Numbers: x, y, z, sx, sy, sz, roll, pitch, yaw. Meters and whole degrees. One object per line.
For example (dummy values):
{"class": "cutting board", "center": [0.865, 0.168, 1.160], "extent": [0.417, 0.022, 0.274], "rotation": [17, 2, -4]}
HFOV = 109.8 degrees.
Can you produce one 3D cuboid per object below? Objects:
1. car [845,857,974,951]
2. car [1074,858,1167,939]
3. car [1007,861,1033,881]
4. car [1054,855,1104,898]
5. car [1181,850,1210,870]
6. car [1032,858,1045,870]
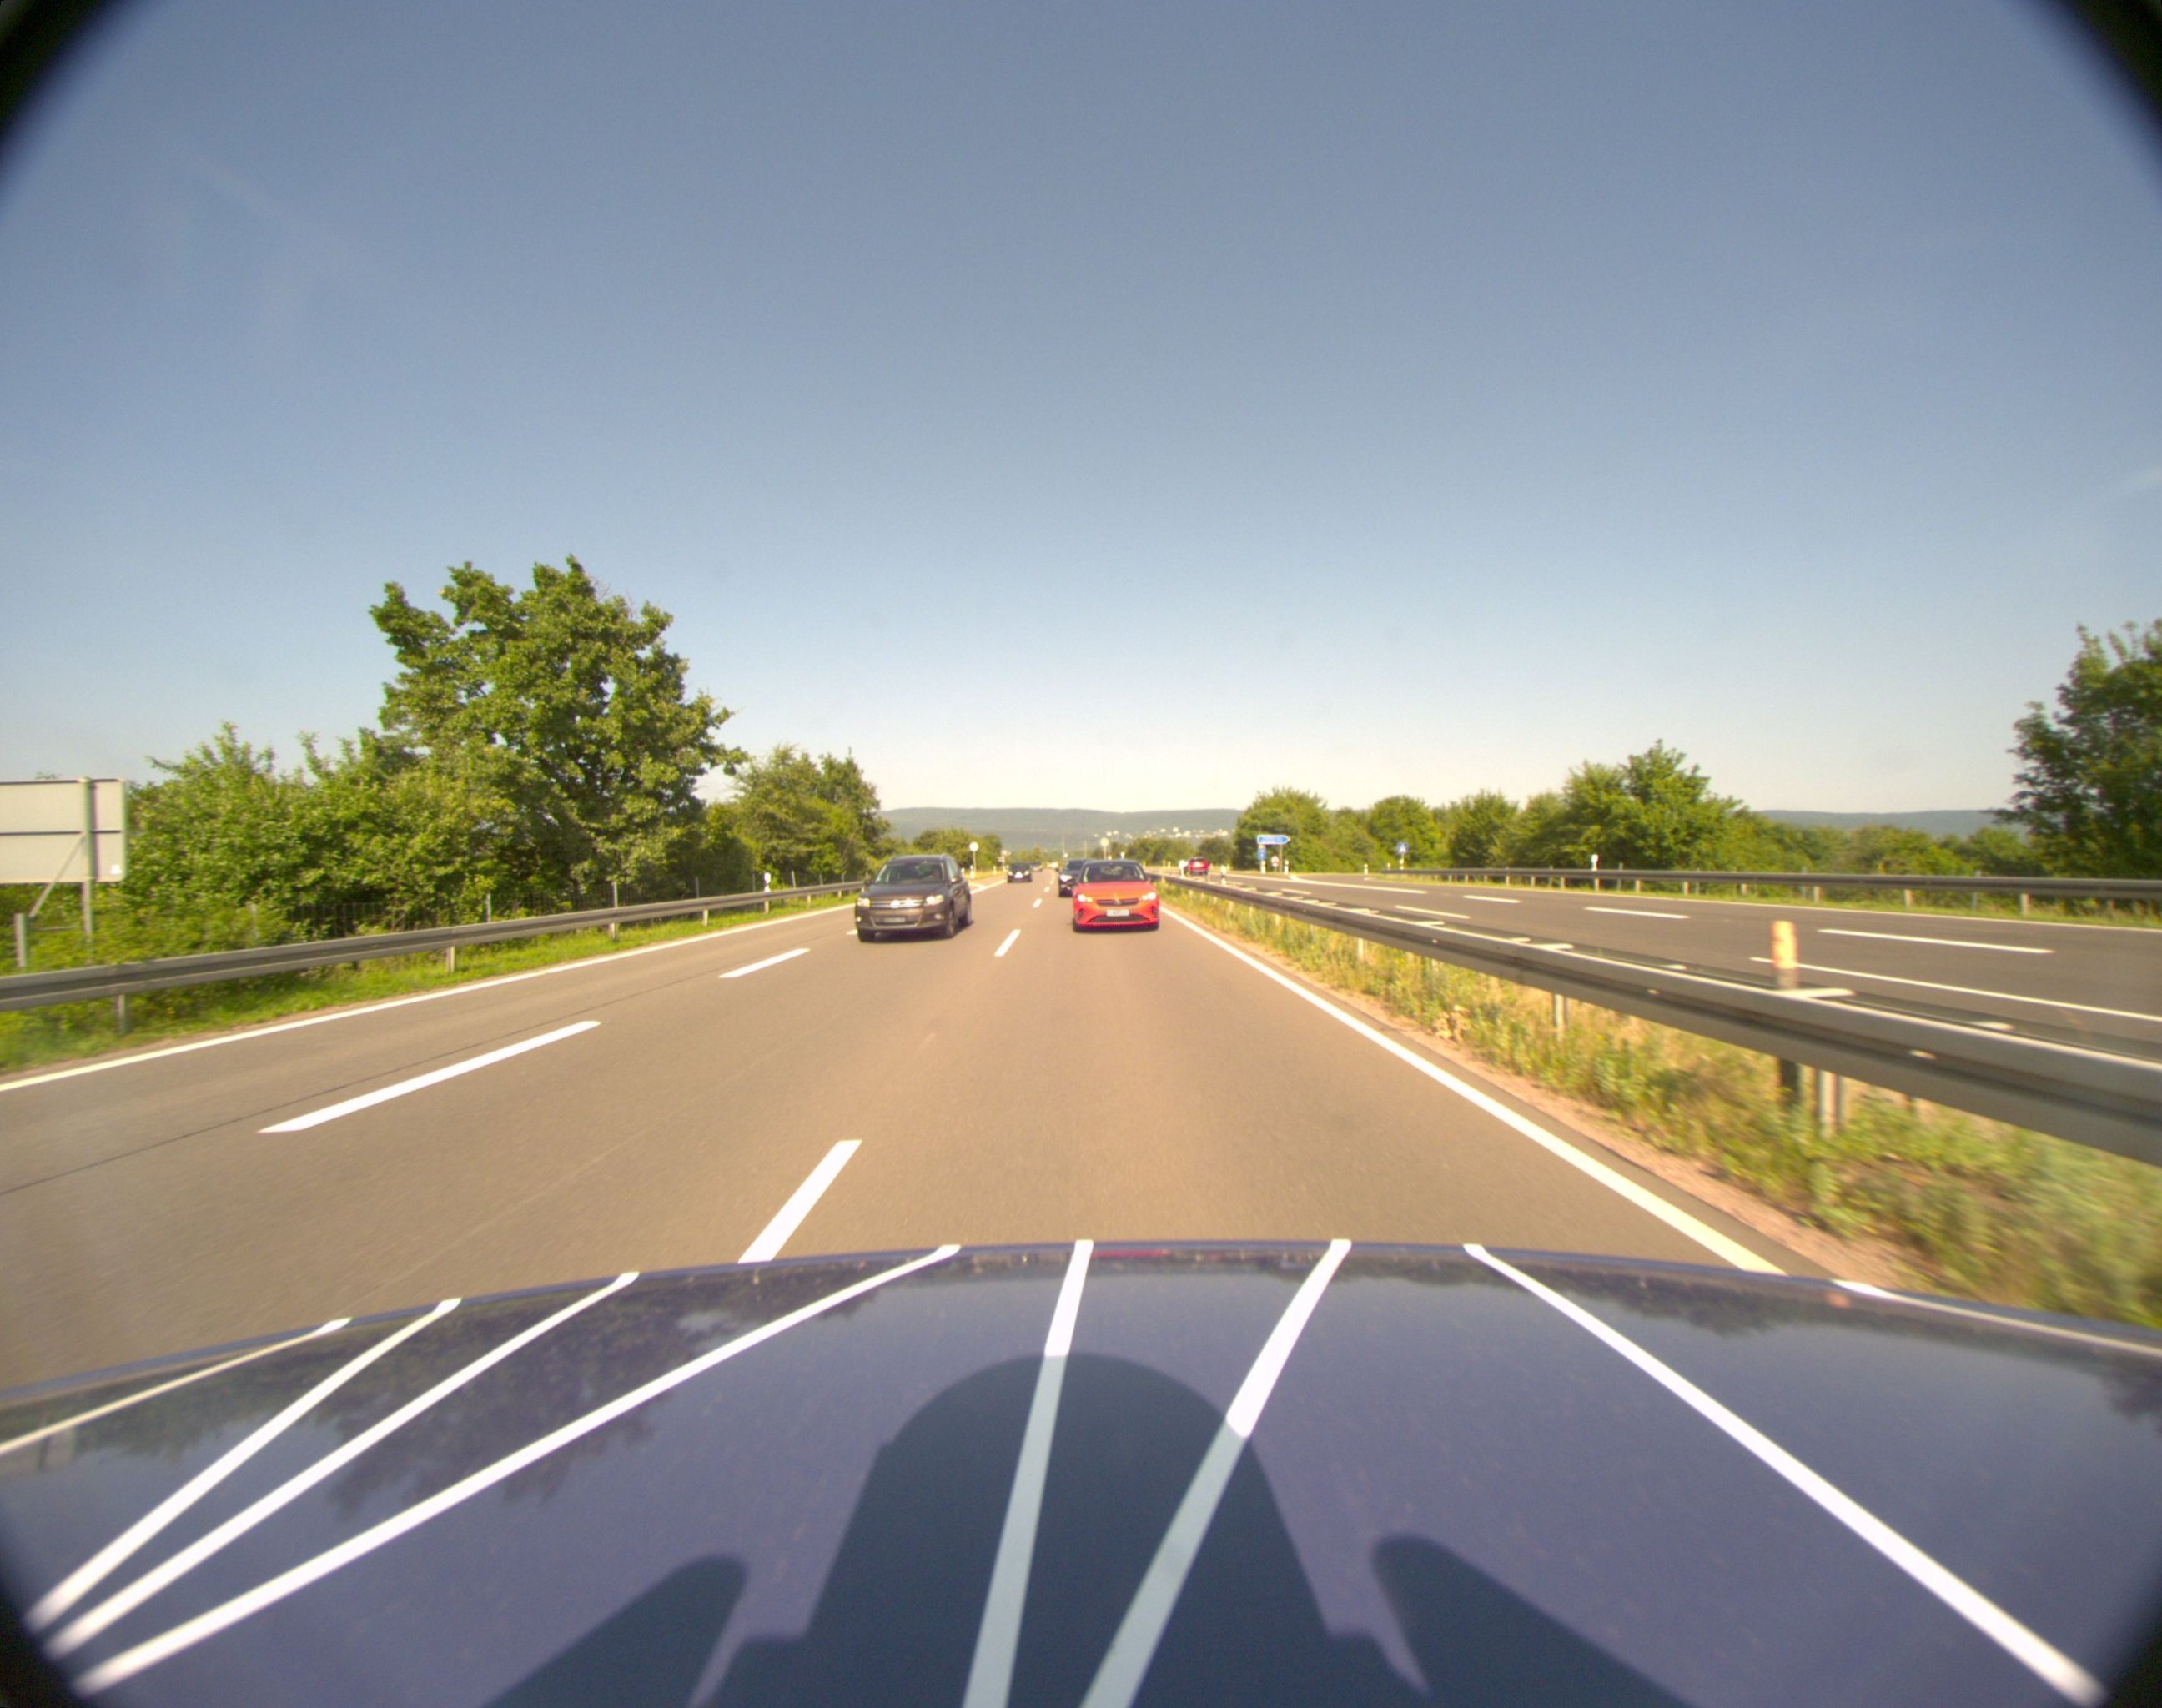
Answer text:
{"class": "car", "center": [-3.427, 0.927, 16.010], "extent": [1.790, 1.637, 4.147], "rotation": [-2, 0, -1]}
{"class": "car", "center": [0.749, 0.864, 16.608], "extent": [1.713, 1.429, 4.411], "rotation": [-2, 0, 0]}
{"class": "car", "center": [-4.177, 1.149, 52.660], "extent": [1.601, 1.241, 3.999], "rotation": [-3, 0, -2]}
{"class": "car", "center": [-0.090, 0.851, 30.330], "extent": [1.788, 1.524, 4.375], "rotation": [-2, 0, -1]}
{"class": "car", "center": [9.732, 0.475, 64.913], "extent": [1.647, 1.565, 4.263], "rotation": [-3, 0, -2]}
{"class": "car", "center": [-6.102, 1.420, 108.992], "extent": [1.768, 1.652, 3.998], "rotation": [-3, 0, -4]}
